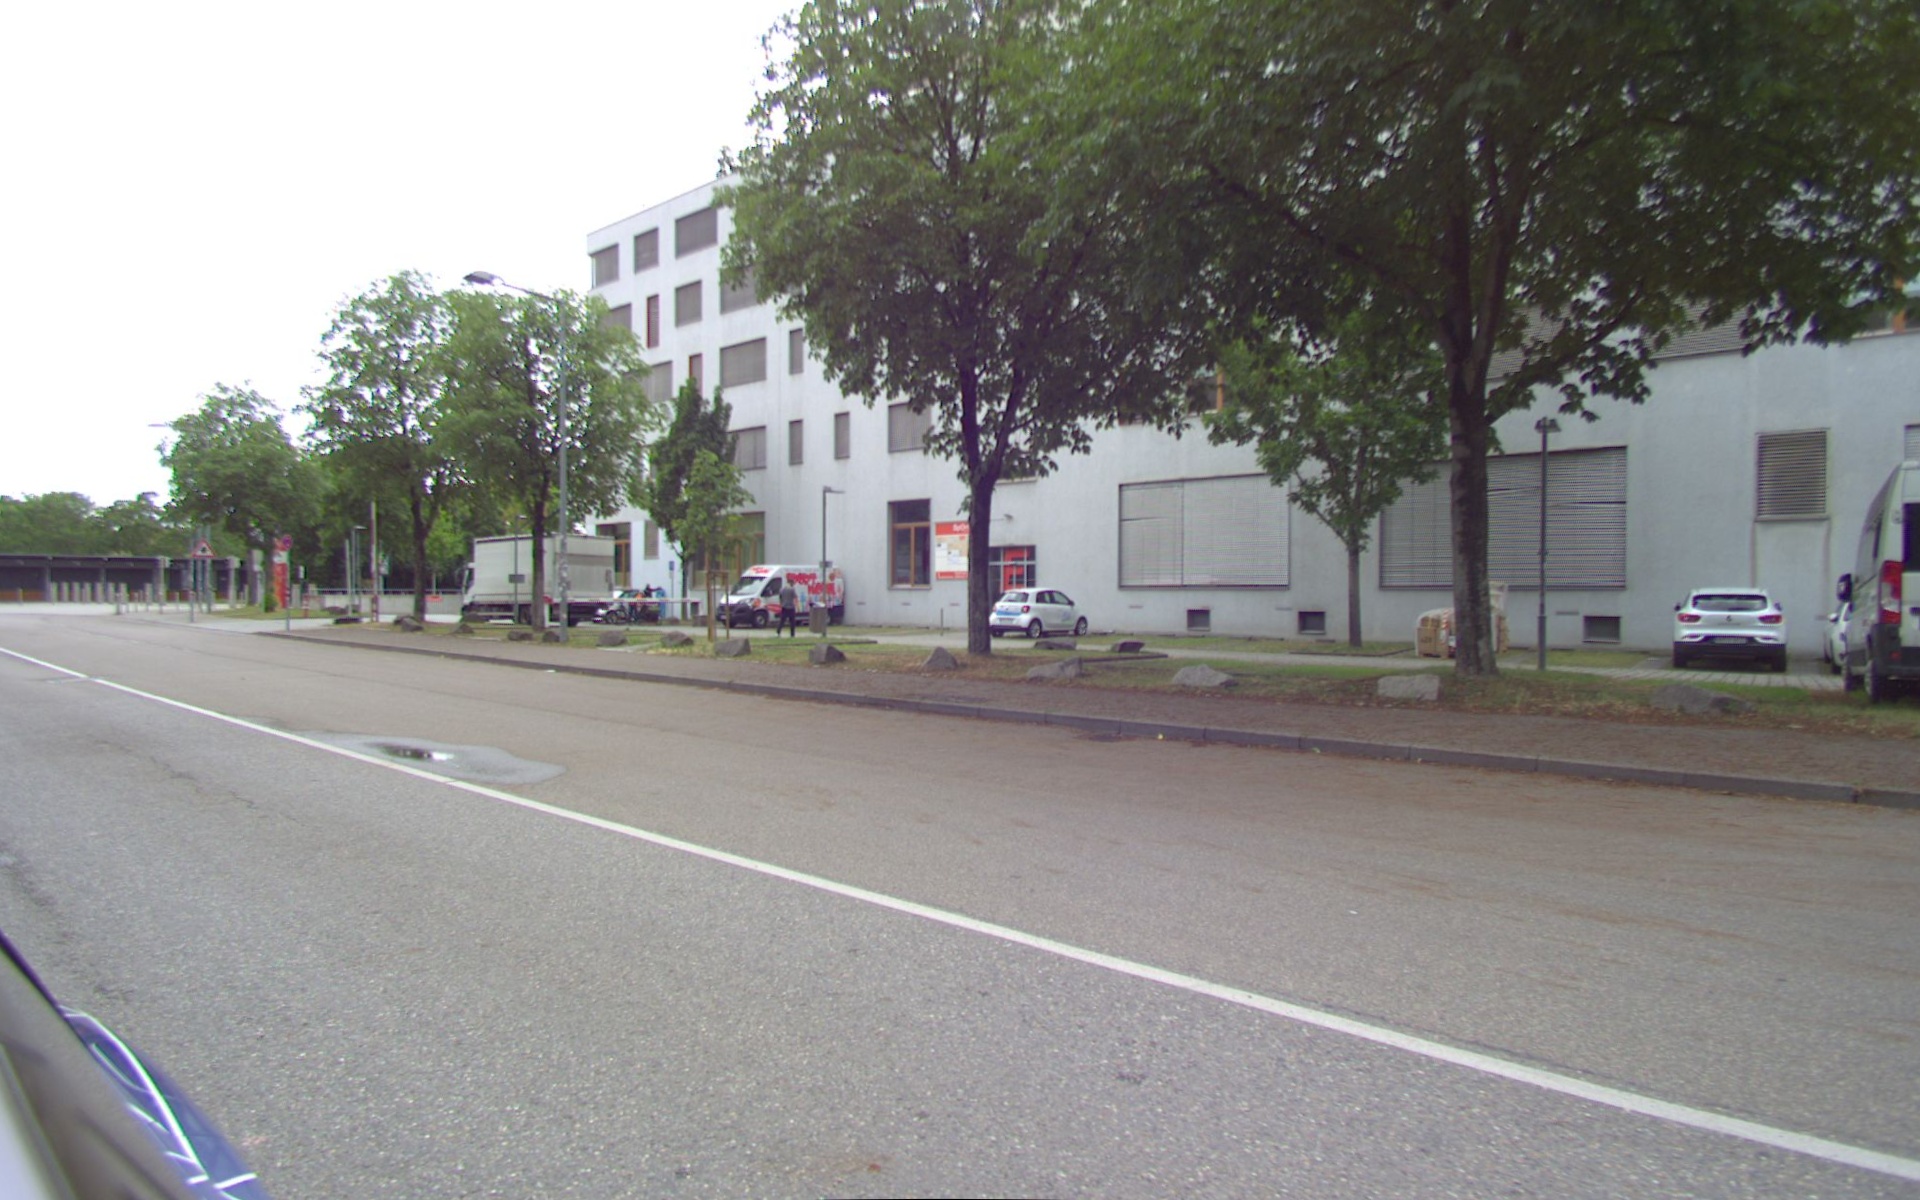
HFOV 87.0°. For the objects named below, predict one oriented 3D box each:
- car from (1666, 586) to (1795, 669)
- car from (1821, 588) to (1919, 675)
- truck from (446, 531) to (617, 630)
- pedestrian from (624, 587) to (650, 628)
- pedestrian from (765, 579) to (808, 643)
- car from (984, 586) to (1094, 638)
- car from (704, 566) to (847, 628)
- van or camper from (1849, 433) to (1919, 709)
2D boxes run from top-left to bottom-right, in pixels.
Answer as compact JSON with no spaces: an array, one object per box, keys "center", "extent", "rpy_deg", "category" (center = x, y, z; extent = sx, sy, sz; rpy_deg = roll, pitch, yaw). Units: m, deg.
[{"center":[15.624,0.469,20.665],"extent":[1.896,1.467,3.963],"rpy_deg":[2,2,36],"category":"car"},{"center":[17.866,0.540,19.258],"extent":[1.896,1.467,3.963],"rpy_deg":[2,2,36],"category":"car"},{"center":[-17.389,-0.840,40.797],"extent":[8.354,3.627,2.651],"rpy_deg":[2,2,38],"category":"truck"},{"center":[-13.120,0.307,41.110],"extent":[0.873,1.618,0.682],"rpy_deg":[0,2,-29],"category":"pedestrian"},{"center":[-4.664,0.275,27.228],"extent":[0.785,1.684,0.836],"rpy_deg":[1,2,35],"category":"pedestrian"},{"center":[2.541,0.323,31.930],"extent":[1.691,1.511,3.576],"rpy_deg":[2,2,40],"category":"car"},{"center":[-7.209,-0.164,40.063],"extent":[2.078,2.295,5.569],"rpy_deg":[2,2,40],"category":"car"},{"center":[11.159,-0.298,10.909],"extent":[2.059,2.589,4.923],"rpy_deg":[2,2,38],"category":"van or camper"}]
